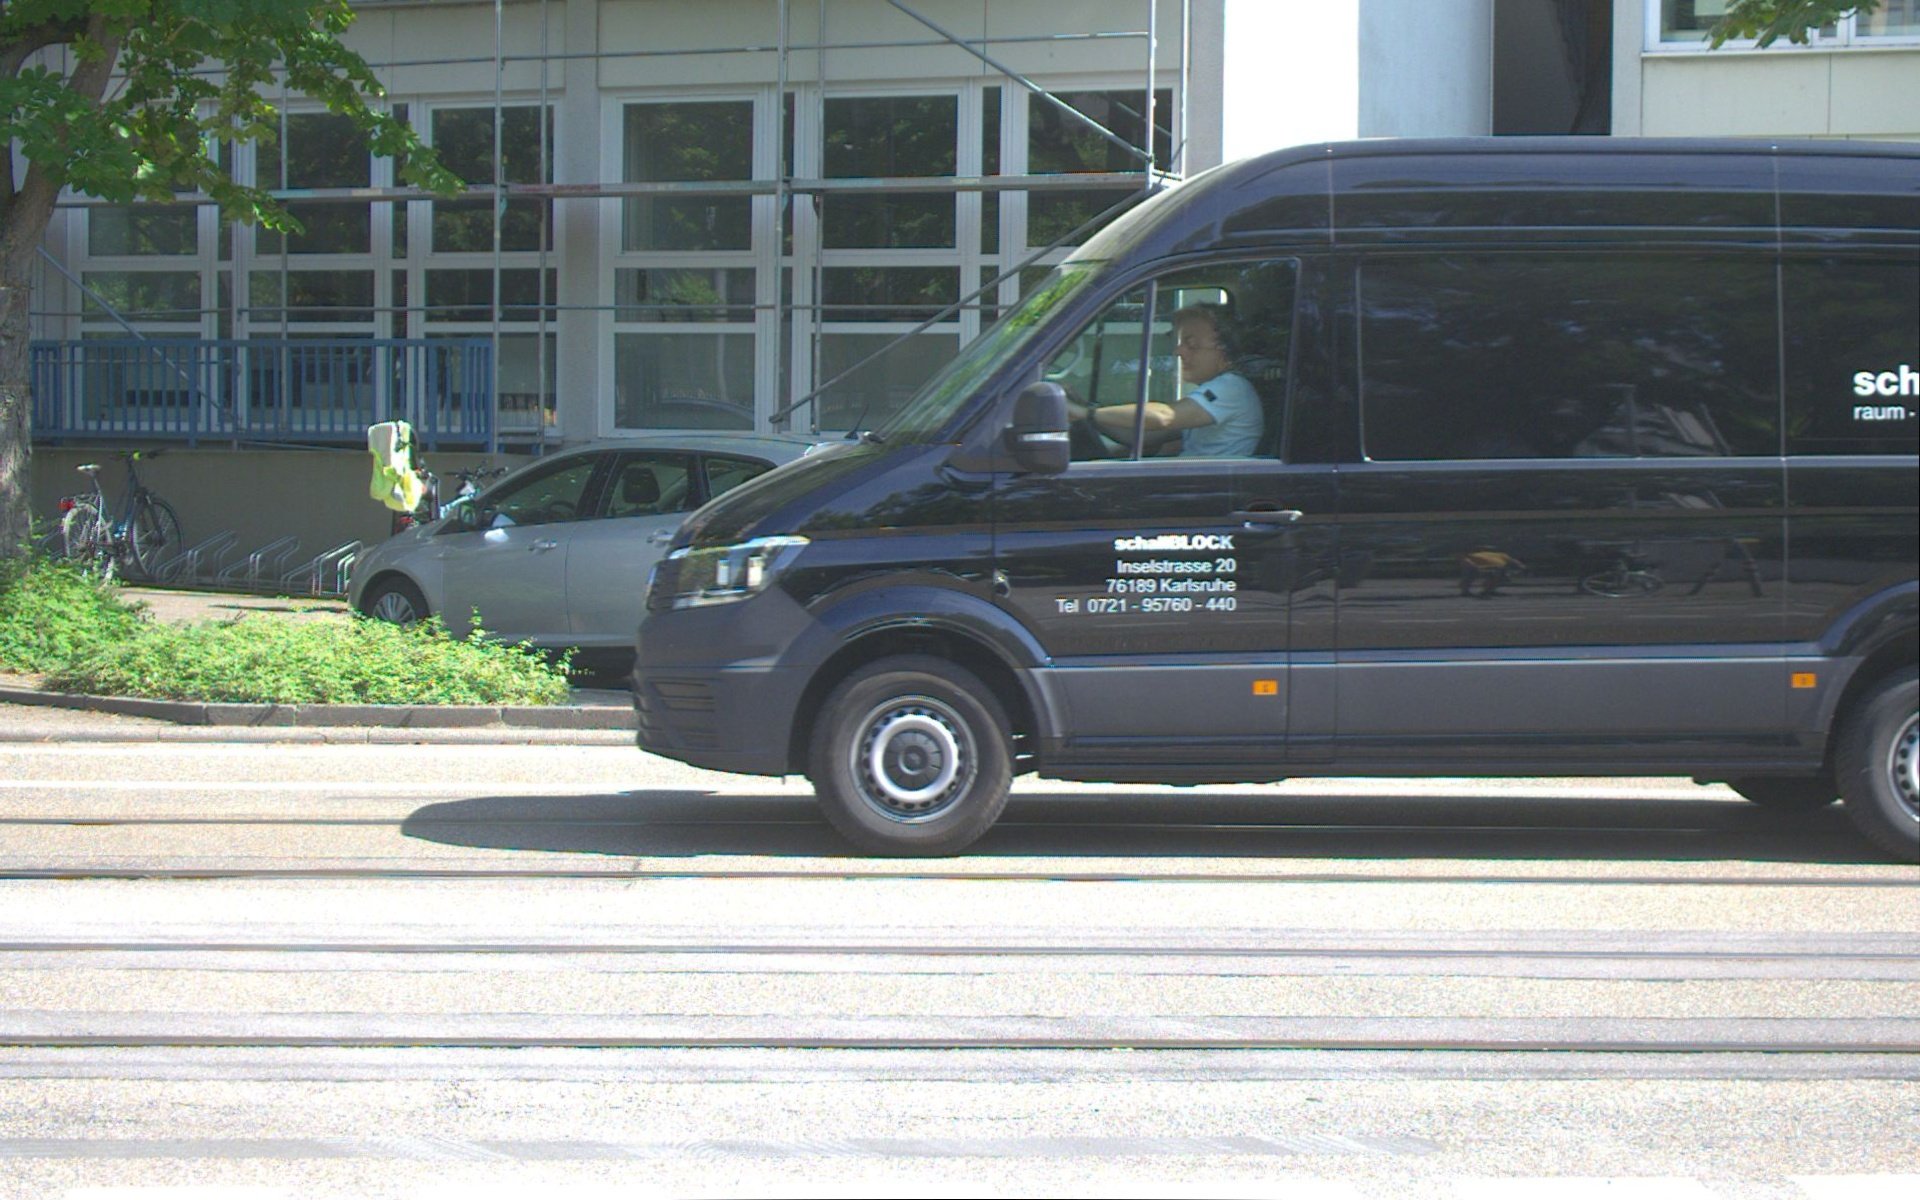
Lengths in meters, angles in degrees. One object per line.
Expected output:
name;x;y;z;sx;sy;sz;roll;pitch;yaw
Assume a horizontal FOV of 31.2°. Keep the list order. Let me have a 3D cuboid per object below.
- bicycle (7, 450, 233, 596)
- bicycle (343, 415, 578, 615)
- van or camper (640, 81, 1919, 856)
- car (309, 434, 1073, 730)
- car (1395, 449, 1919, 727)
bicycle;-6.540;-0.625;26.891;0.741;1.082;2.202;1;3;15
bicycle;-3.766;-0.665;26.089;0.662;1.448;2.087;2;3;28
van or camper;1.786;-0.476;12.802;5.842;2.610;2.051;0;3;-3
car;-1.629;-0.188;19.633;4.432;1.481;1.780;3;4;42
car;4.595;-0.120;19.867;3.942;1.481;1.609;2;3;43
